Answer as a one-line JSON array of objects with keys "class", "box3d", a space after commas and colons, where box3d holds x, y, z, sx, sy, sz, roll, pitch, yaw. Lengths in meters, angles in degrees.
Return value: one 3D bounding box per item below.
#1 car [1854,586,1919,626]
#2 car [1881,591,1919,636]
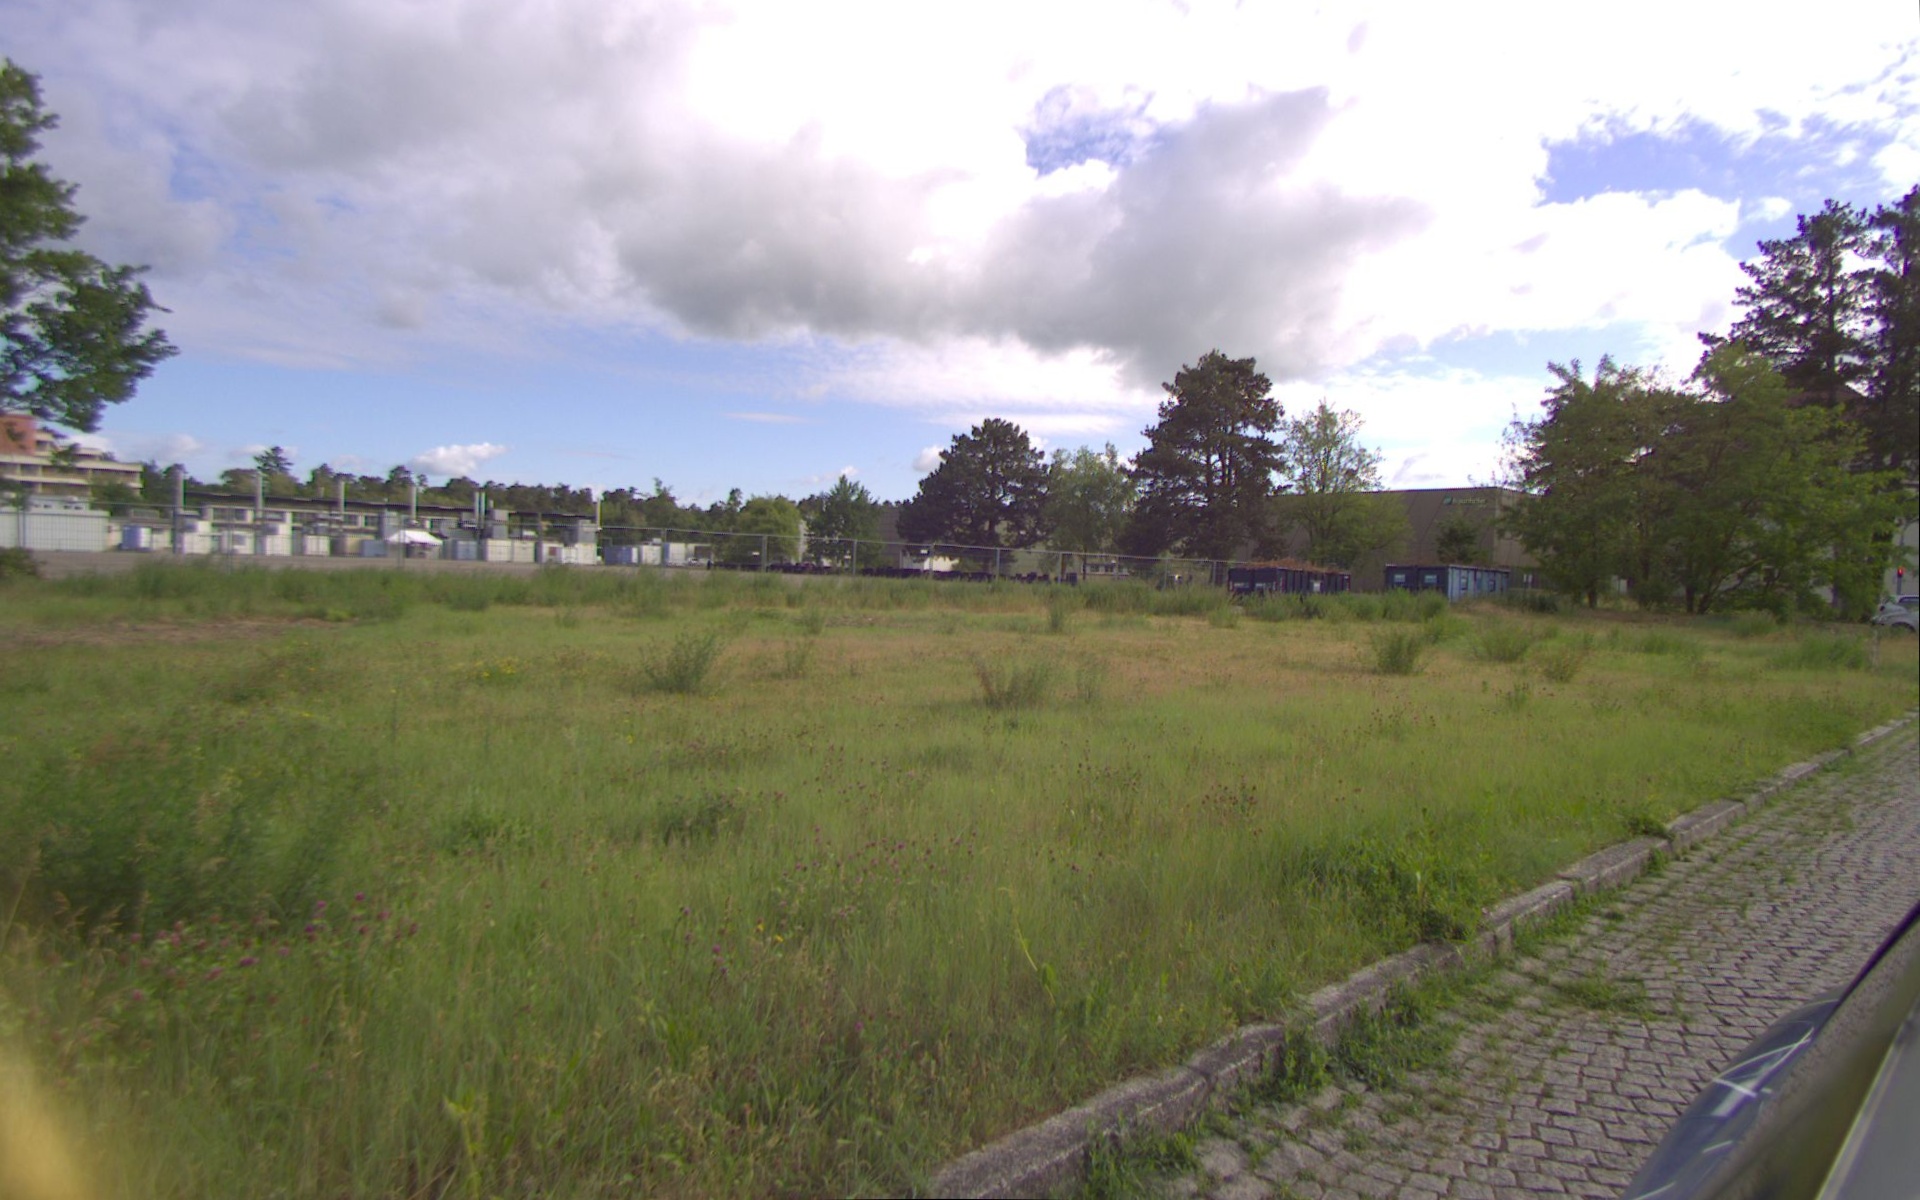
[{"class": "car", "box3d": [35.930, 0.202, 37.881, 3.718, 1.456, 1.602, 1, 1, 43]}, {"class": "car", "box3d": [32.835, 0.444, 33.244, 1.600, 1.456, 3.723, -1, 1, -43]}]
